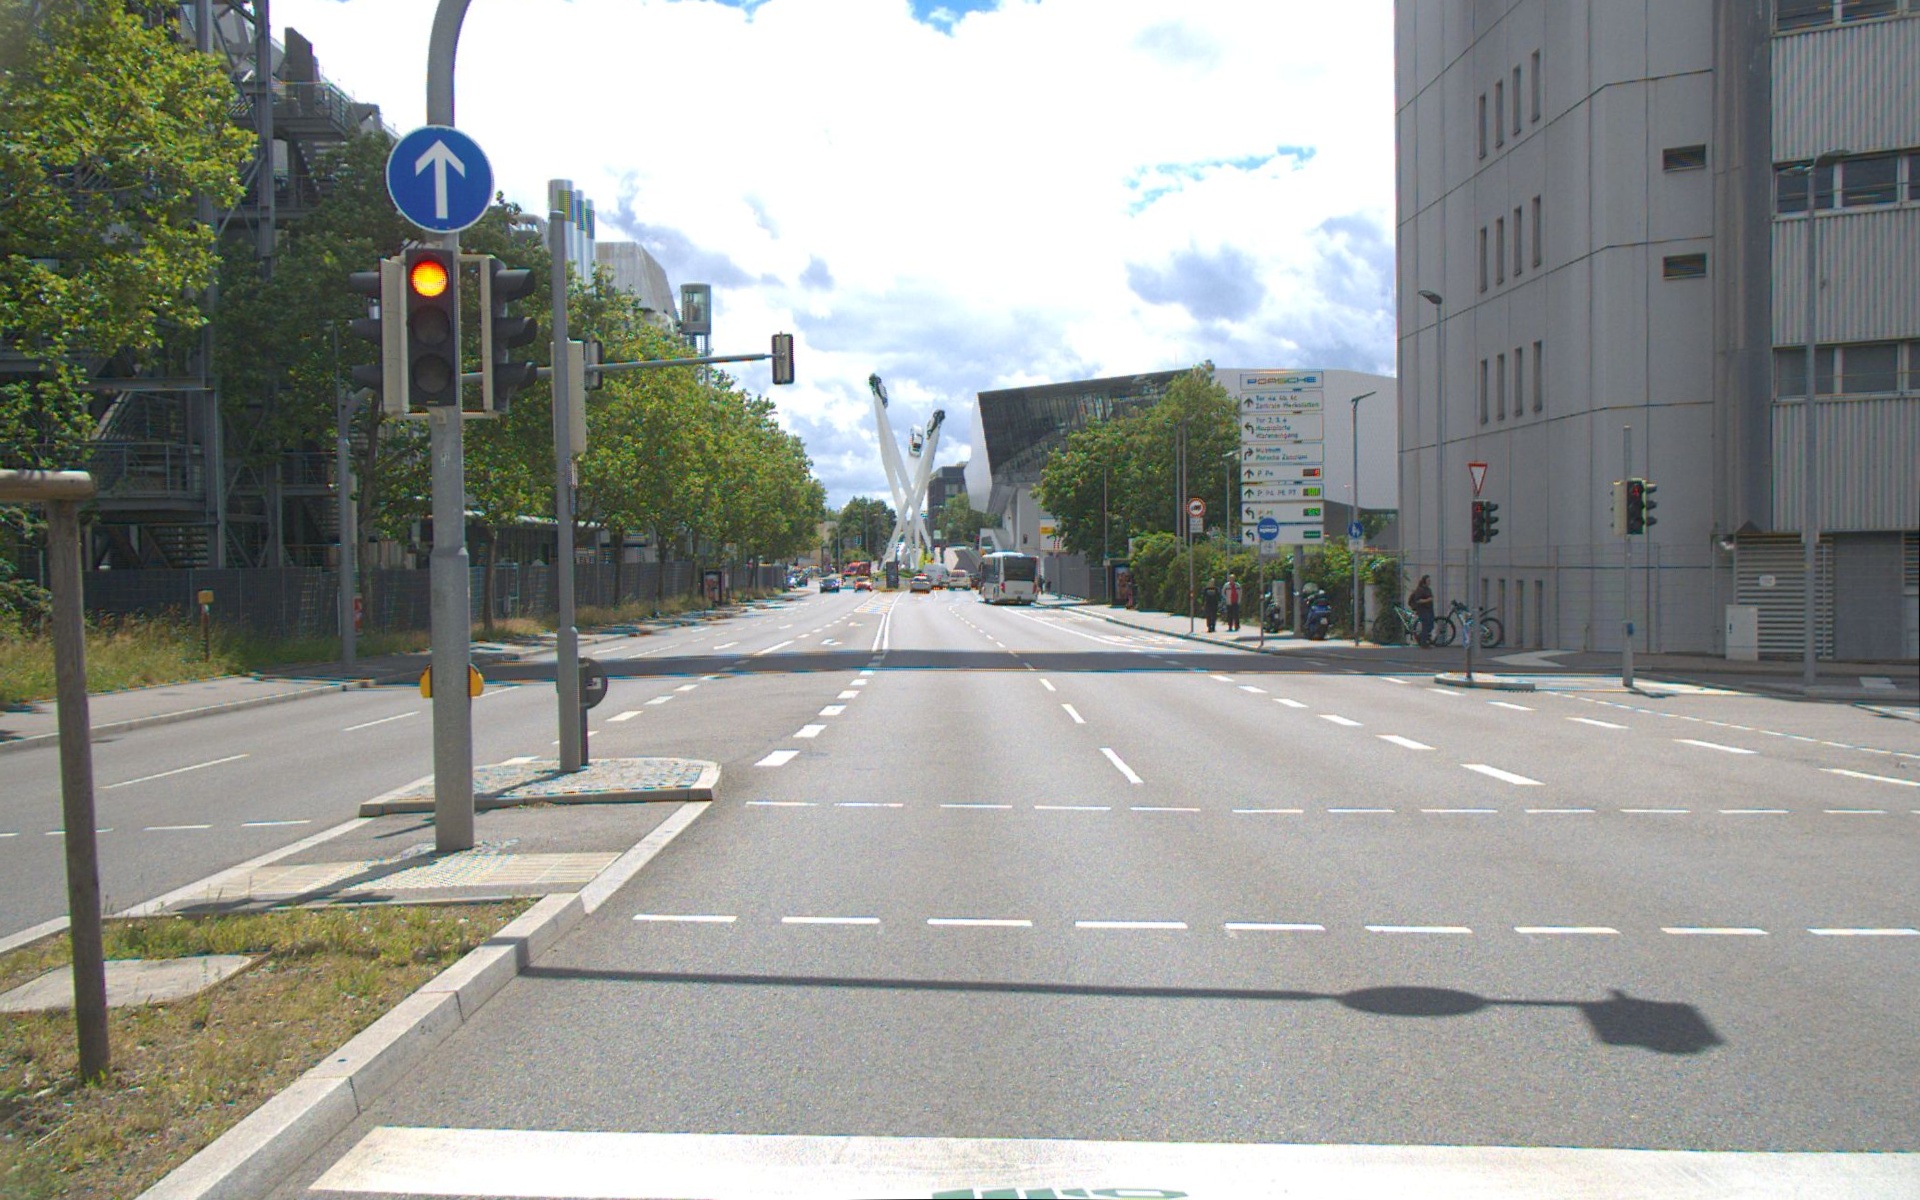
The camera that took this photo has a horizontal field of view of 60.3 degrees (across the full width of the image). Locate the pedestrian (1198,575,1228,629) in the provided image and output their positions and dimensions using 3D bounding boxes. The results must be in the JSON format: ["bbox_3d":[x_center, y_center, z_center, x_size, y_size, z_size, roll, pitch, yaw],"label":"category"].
[{"bbox_3d":[8.144,0.063,53.312,0.803,1.737,0.881,0,0,-1],"label":"pedestrian"}]

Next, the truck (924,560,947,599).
[{"bbox_3d":[-2.543,-2.125,172.078,2.343,3.965,6.176,0,0,-1],"label":"truck"}]

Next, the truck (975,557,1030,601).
[{"bbox_3d":[4.454,-2.120,171.767,3.379,4.468,9.426,0,0,17],"label":"truck"}]

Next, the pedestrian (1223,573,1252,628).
[{"bbox_3d":[8.955,0.016,53.383,0.803,1.772,0.637,0,0,-1],"label":"pedestrian"}]

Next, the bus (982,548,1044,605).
[{"bbox_3d":[3.470,-1.525,110.565,3.383,3.605,10.601,0,0,-2],"label":"bus"}]

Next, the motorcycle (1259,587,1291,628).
[{"bbox_3d":[10.066,0.228,52.882,0.562,1.224,2.024,-2,1,-1],"label":"motorcycle"}]

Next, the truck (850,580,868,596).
[{"bbox_3d":[-9.834,-1.182,160.780,1.553,1.564,3.673,0,0,-6],"label":"truck"}]

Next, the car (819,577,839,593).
[{"bbox_3d":[-13.024,-1.479,164.797,1.782,1.564,3.677,-2,0,-2],"label":"car"}]

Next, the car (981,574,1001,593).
[{"bbox_3d":[2.891,-1.508,153.948,1.703,1.772,3.691,0,0,-1],"label":"car"}]

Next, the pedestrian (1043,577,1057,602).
[{"bbox_3d":[7.603,-0.877,139.346,1.008,2.049,0.883,1,-1,-5],"label":"pedestrian"}]

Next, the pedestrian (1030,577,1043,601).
[{"bbox_3d":[6.450,-0.928,139.262,1.008,2.049,0.883,1,-1,-5],"label":"pedestrian"}]

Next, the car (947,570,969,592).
[{"bbox_3d":[-0.171,-1.931,165.584,1.952,2.049,4.001,1,-1,3],"label":"car"}]

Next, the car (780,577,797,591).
[{"bbox_3d":[-21.162,-1.965,203.963,1.782,1.564,3.676,-2,0,-3],"label":"car"}]

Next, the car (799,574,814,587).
[{"bbox_3d":[-20.085,-2.545,216.476,1.782,1.564,3.676,-2,0,-3],"label":"car"}]

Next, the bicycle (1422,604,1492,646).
[{"bbox_3d":[11.652,0.578,38.837,0.392,0.953,1.912,0,0,-26],"label":"bicycle"}]

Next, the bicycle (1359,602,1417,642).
[{"bbox_3d":[10.618,0.544,41.109,0.391,0.953,1.917,0,0,-19],"label":"bicycle"}]

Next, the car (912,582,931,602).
[{"bbox_3d":[-3.462,-0.739,148.600,1.703,1.772,3.691,0,0,-1],"label":"car"}]

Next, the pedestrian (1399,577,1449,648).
[{"bbox_3d":[10.919,0.286,38.928,0.834,1.653,0.951,0,0,40],"label":"pedestrian"}]

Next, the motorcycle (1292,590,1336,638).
[{"bbox_3d":[9.620,0.374,45.016,0.692,1.224,2.024,-2,1,-1],"label":"motorcycle"}]
